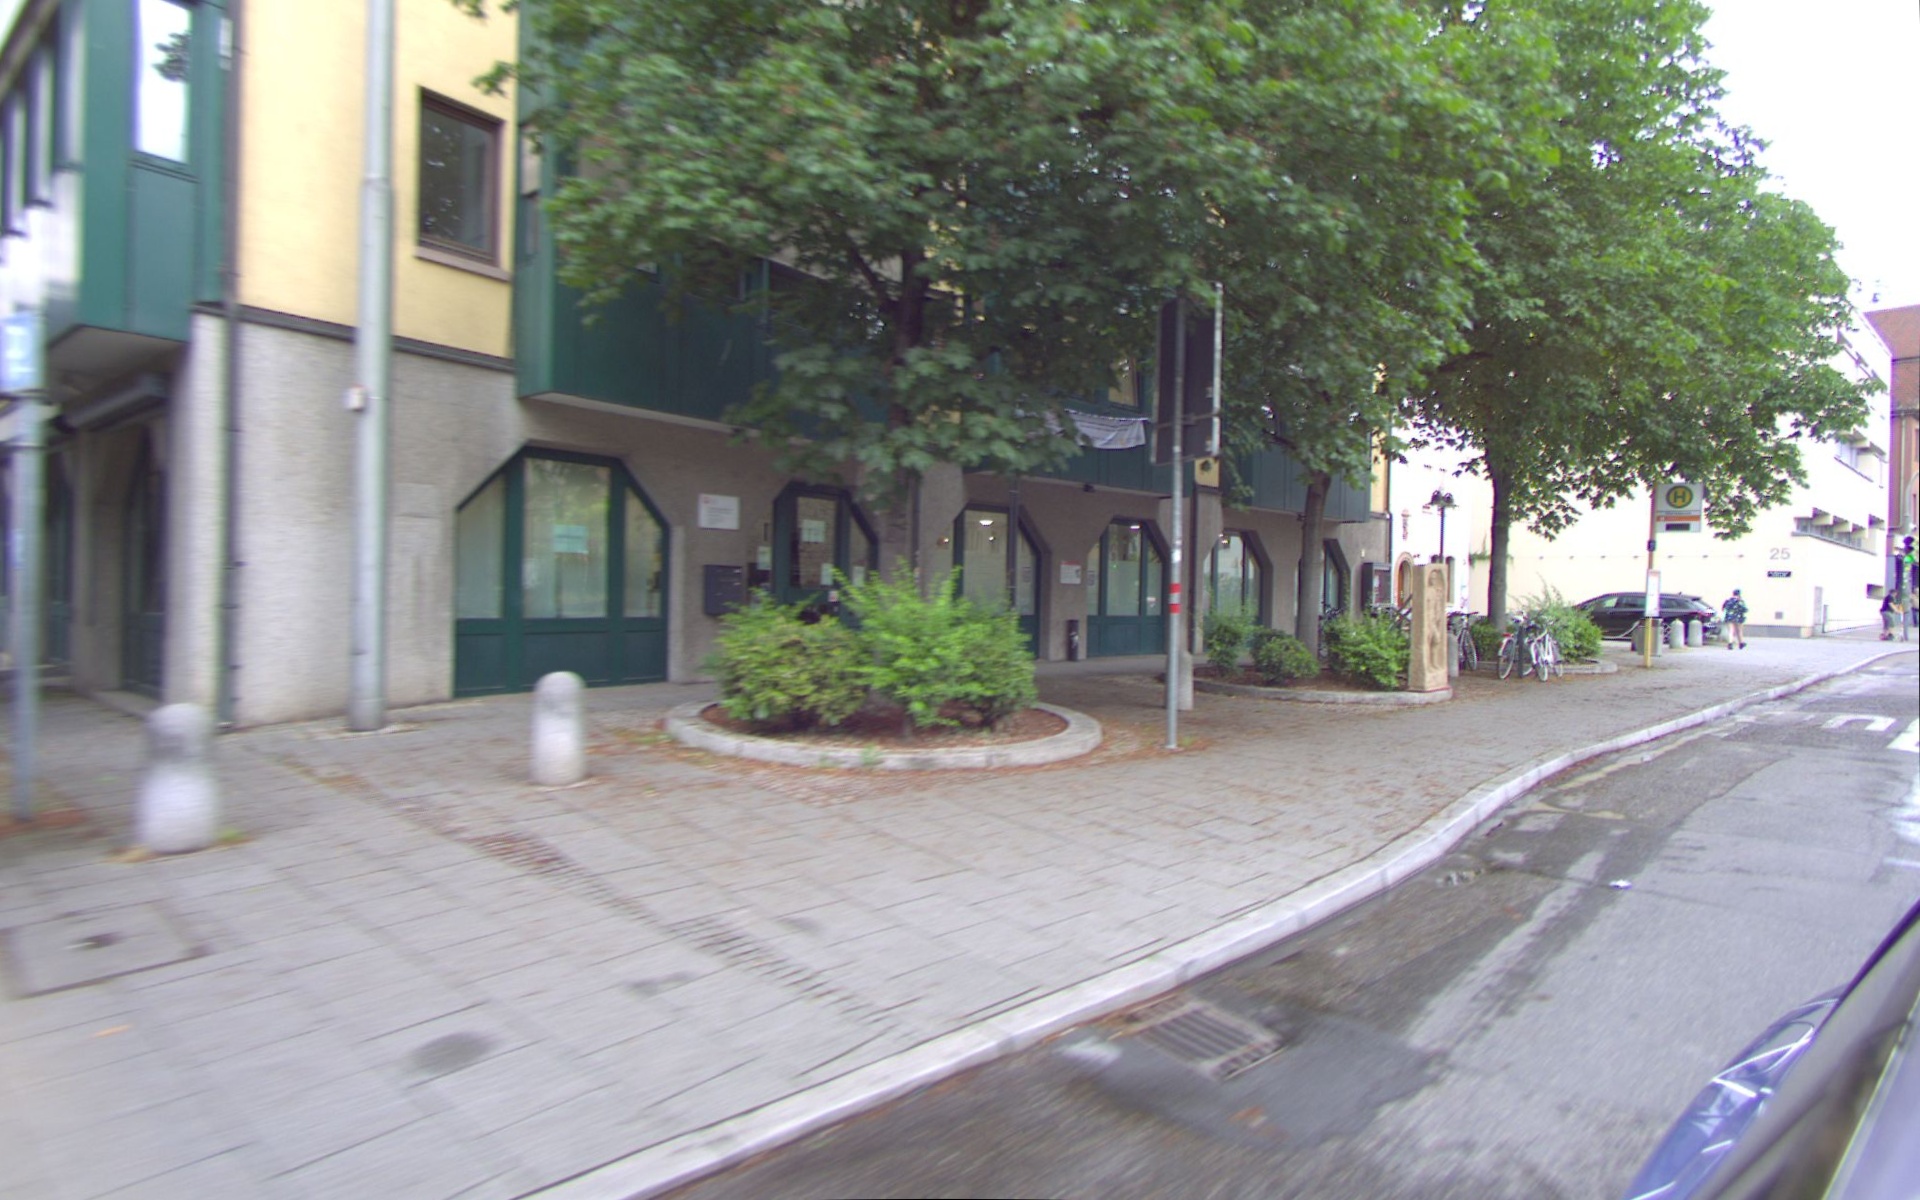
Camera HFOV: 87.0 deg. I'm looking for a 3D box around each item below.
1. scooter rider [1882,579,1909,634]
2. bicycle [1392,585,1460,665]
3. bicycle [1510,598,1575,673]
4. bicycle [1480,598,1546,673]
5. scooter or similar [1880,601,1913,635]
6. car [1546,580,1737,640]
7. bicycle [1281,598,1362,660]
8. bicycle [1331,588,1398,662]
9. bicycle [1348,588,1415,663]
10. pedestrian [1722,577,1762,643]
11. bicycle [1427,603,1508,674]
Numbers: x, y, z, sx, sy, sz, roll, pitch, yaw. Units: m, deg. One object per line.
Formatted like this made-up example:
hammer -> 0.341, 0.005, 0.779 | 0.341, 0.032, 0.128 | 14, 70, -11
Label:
scooter rider -> 29.177, 0.204, 31.568 | 0.451, 1.651, 0.499 | 4, 5, 35
bicycle -> 8.102, 0.402, 17.553 | 1.925, 1.317, 0.333 | -1, 0, -42
bicycle -> 9.573, 0.554, 16.593 | 1.925, 1.155, 0.333 | -1, 0, -42
bicycle -> 9.222, 0.566, 16.847 | 1.925, 1.156, 0.333 | -1, 0, -42
scooter or similar -> 29.219, 0.542, 31.582 | 0.660, 0.957, 0.809 | 4, 5, 39
car -> 20.515, 0.234, 30.586 | 1.822, 1.593, 4.515 | -2, 3, -44
bicycle -> 6.949, 0.528, 19.394 | 0.545, 1.082, 2.254 | 2, 2, 44
bicycle -> 7.575, 0.441, 18.918 | 1.925, 1.317, 0.333 | -1, 0, -42
bicycle -> 7.780, 0.440, 18.639 | 1.925, 1.317, 0.333 | -1, 0, -42
pedestrian -> 21.030, 0.256, 27.221 | 0.843, 1.737, 0.604 | 0, 1, -33
bicycle -> 8.614, 0.610, 17.142 | 0.545, 1.082, 2.254 | 2, 2, 44
